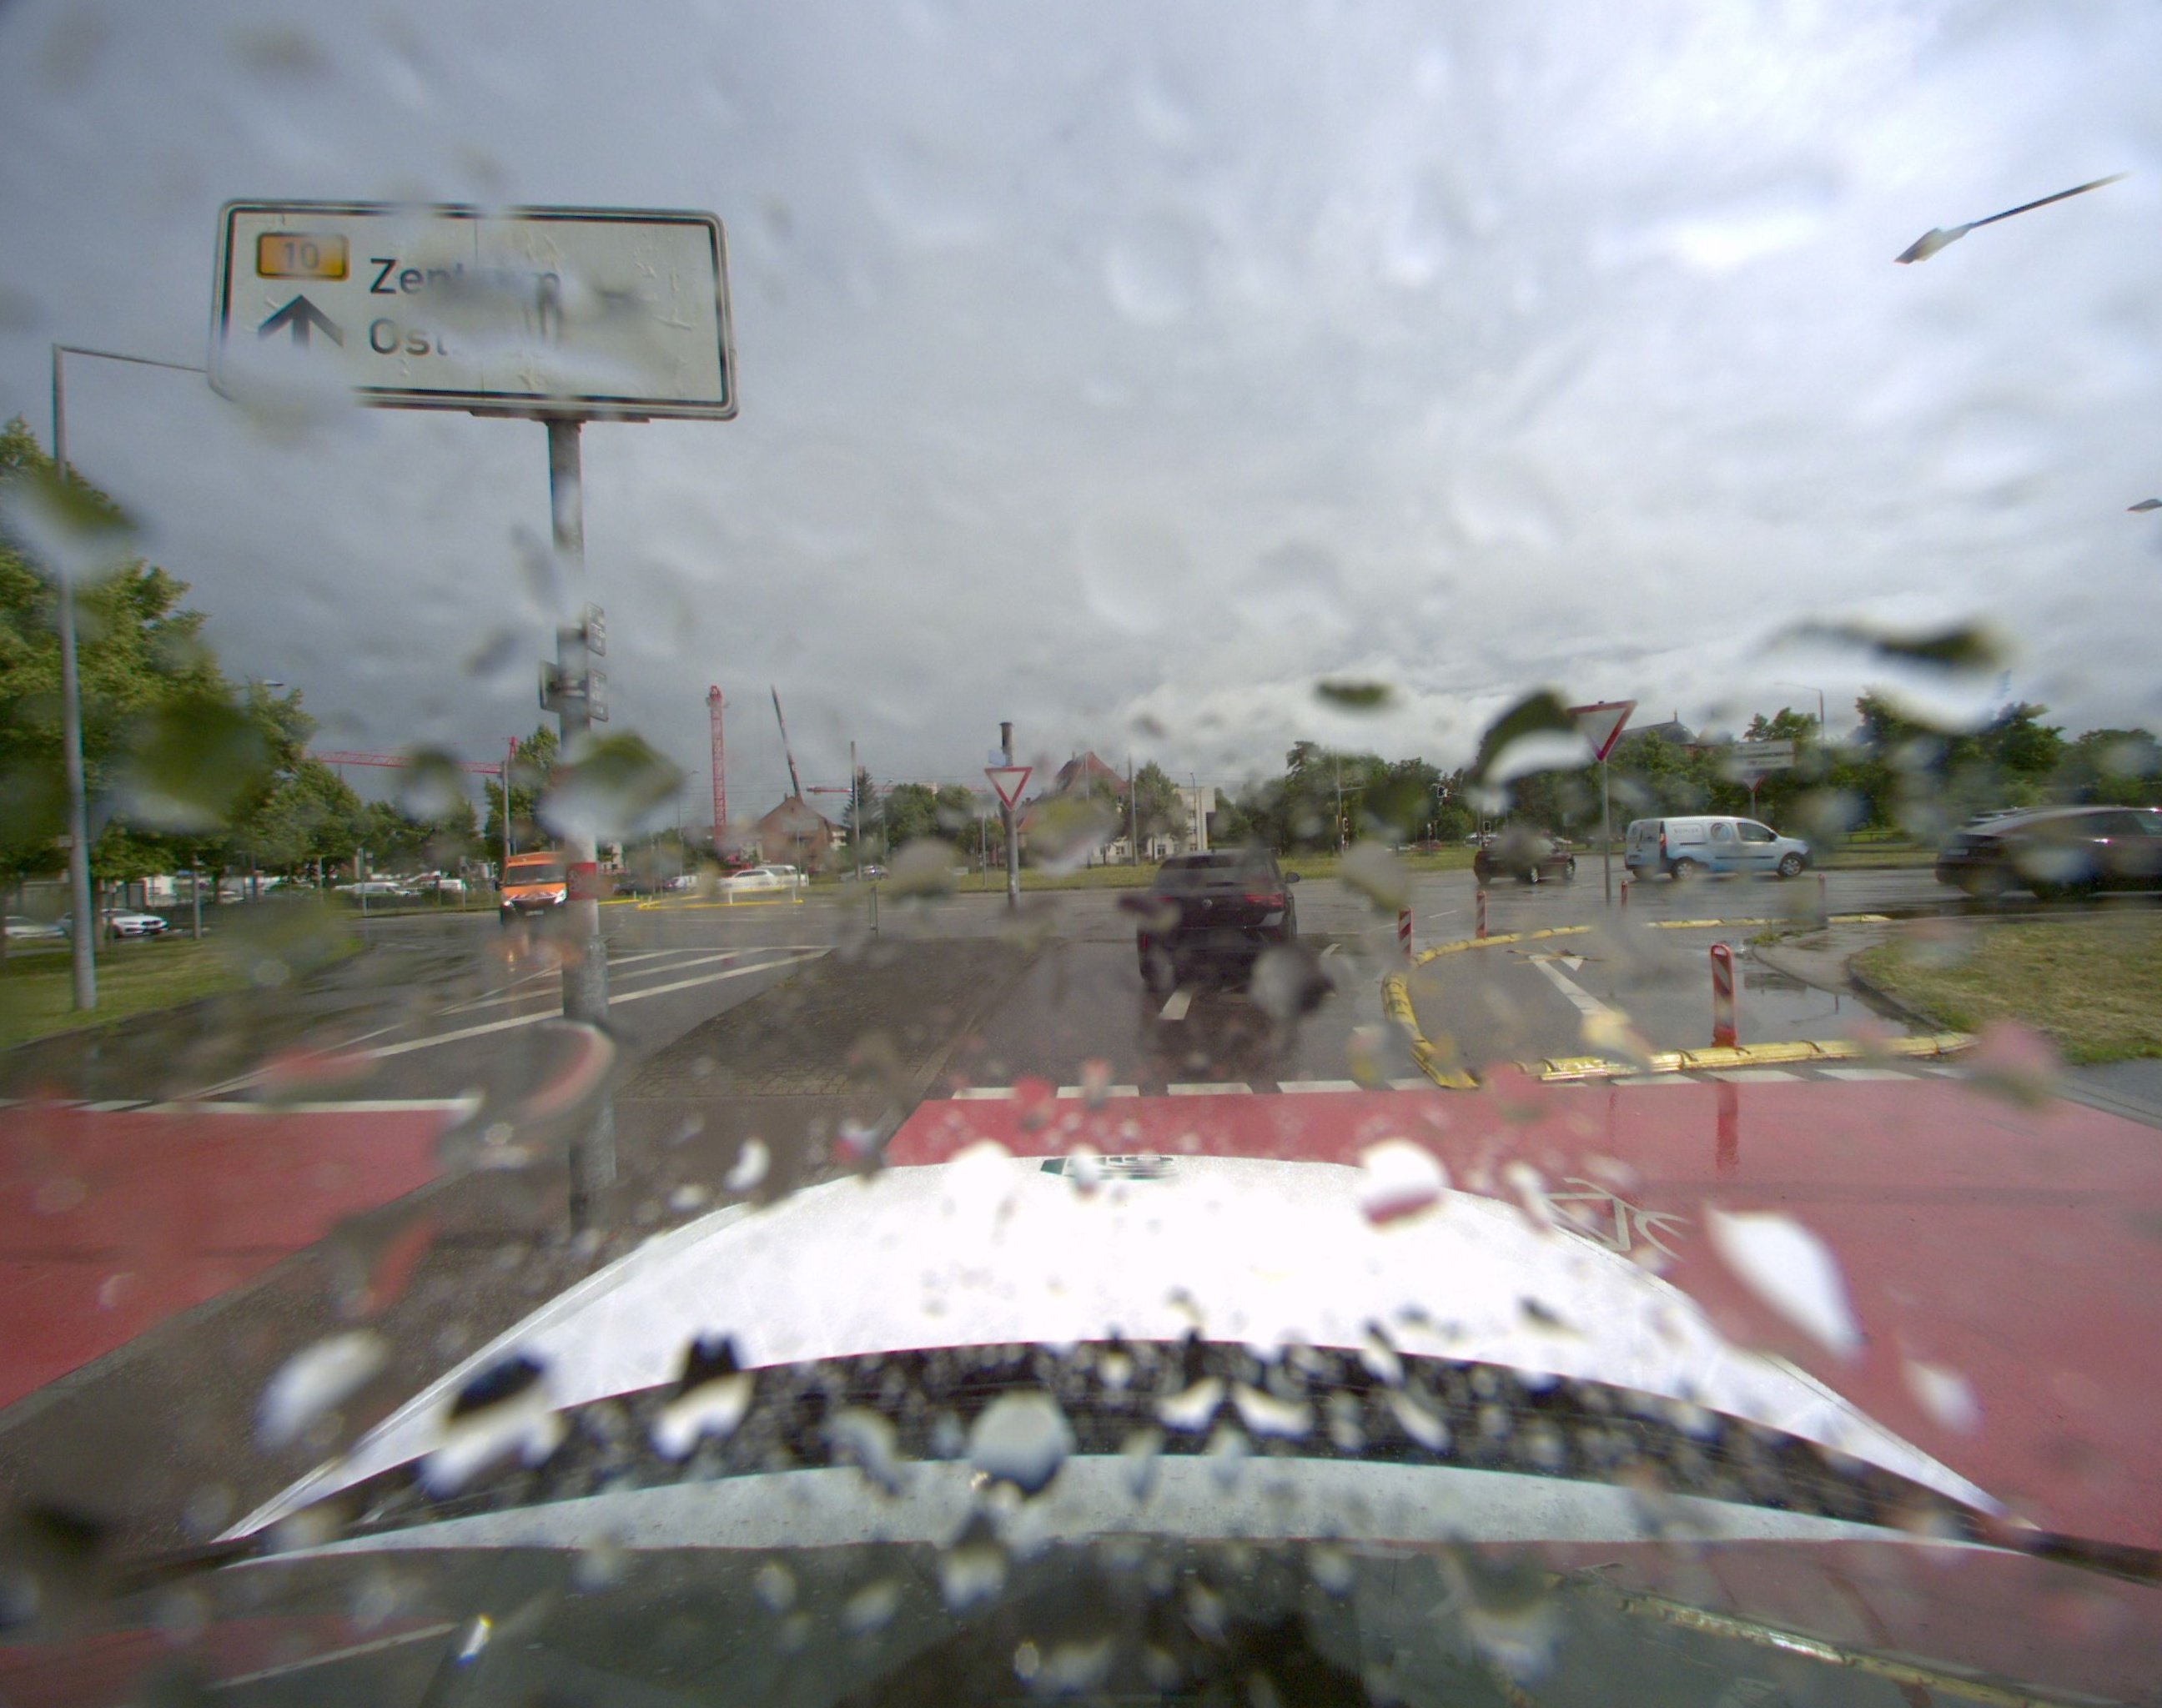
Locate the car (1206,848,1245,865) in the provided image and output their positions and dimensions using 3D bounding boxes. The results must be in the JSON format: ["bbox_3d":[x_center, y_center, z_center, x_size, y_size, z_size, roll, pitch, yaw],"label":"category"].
[{"bbox_3d":[14.499,0.261,81.567,3.455,1.454,1.560,-3,0,31],"label":"car"}]

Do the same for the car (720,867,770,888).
[{"bbox_3d":[-26.397,1.835,63.957,3.508,1.510,1.487,-2,0,-28],"label":"car"}]

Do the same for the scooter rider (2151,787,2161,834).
[{"bbox_3d":[46.771,-1.861,35.015,0.697,2.014,0.775,-1,-1,37],"label":"scooter rider"}]

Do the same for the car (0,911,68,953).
[{"bbox_3d":[-49.485,3.668,37.189,4.432,1.672,1.870,-4,0,7],"label":"car"}]

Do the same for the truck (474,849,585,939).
[{"bbox_3d":[-19.555,1.315,29.253,2.468,2.726,6.882,-3,0,-28],"label":"truck"}]

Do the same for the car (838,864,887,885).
[{"bbox_3d":[-18.625,1.762,69.517,3.699,1.560,1.555,-2,0,-43],"label":"car"}]

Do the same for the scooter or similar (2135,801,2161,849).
[{"bbox_3d":[46.154,-1.213,34.239,1.224,2.014,3.430,-1,-1,34],"label":"scooter or similar"}]

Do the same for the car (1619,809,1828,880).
[{"bbox_3d":[18.306,-0.282,23.352,4.523,1.762,1.867,-2,0,-1],"label":"car"}]

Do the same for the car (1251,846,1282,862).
[{"bbox_3d":[25.317,0.050,111.279,2.109,2.057,5.139,-3,1,-13],"label":"car"}]

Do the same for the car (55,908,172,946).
[{"bbox_3d":[-47.992,3.609,40.421,3.874,1.508,1.729,-3,0,4],"label":"car"}]

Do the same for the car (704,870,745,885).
[{"bbox_3d":[-42.256,2.758,96.497,3.966,1.700,1.934,-1,-1,7],"label":"car"}]

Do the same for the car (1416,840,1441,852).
[{"bbox_3d":[50.439,-1.188,118.252,1.646,1.510,3.636,-3,0,-11],"label":"car"}]

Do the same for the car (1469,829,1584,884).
[{"bbox_3d":[13.822,0.047,25.189,4.021,1.462,1.700,-4,1,-39],"label":"car"}]

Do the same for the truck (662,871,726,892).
[{"bbox_3d":[-42.279,2.974,88.974,6.041,2.212,2.405,-1,-1,11],"label":"truck"}]

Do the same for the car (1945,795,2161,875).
[{"bbox_3d":[25.387,-0.492,20.648,4.271,1.757,2.053,-3,0,21],"label":"car"}]

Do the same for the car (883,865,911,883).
[{"bbox_3d":[-18.151,1.922,80.317,1.786,1.585,4.000,-2,0,0],"label":"car"}]

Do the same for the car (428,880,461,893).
[{"bbox_3d":[-90.938,4.624,116.359,3.576,1.722,1.500,-3,0,1],"label":"car"}]

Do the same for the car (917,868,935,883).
[{"bbox_3d":[-18.247,2.520,95.935,1.541,1.560,3.498,-2,0,-1],"label":"car"}]

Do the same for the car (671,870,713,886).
[{"bbox_3d":[-45.184,2.781,94.693,3.971,1.700,1.859,-1,-1,2],"label":"car"}]

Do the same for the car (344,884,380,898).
[{"bbox_3d":[-95.703,4.909,108.417,3.474,1.560,1.551,-3,0,3],"label":"car"}]

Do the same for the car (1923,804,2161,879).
[{"bbox_3d":[22.562,-0.288,18.767,3.952,1.528,1.820,-3,0,21],"label":"car"}]

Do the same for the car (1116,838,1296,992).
[{"bbox_3d":[1.815,0.626,10.736,1.884,1.617,4.016,-1,1,14],"label":"car"}]

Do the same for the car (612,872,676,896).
[{"bbox_3d":[-32.847,2.241,61.377,4.003,1.517,1.790,-3,0,-22],"label":"car"}]

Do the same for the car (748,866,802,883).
[{"bbox_3d":[-38.653,2.633,102.988,6.206,2.085,2.049,-1,-1,10],"label":"car"}]

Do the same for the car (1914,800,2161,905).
[{"bbox_3d":[18.324,-0.078,14.531,4.450,1.657,1.883,-3,0,16],"label":"car"}]

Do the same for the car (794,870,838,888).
[{"bbox_3d":[-28.371,2.636,87.317,1.974,1.684,4.026,-2,0,36],"label":"car"}]
